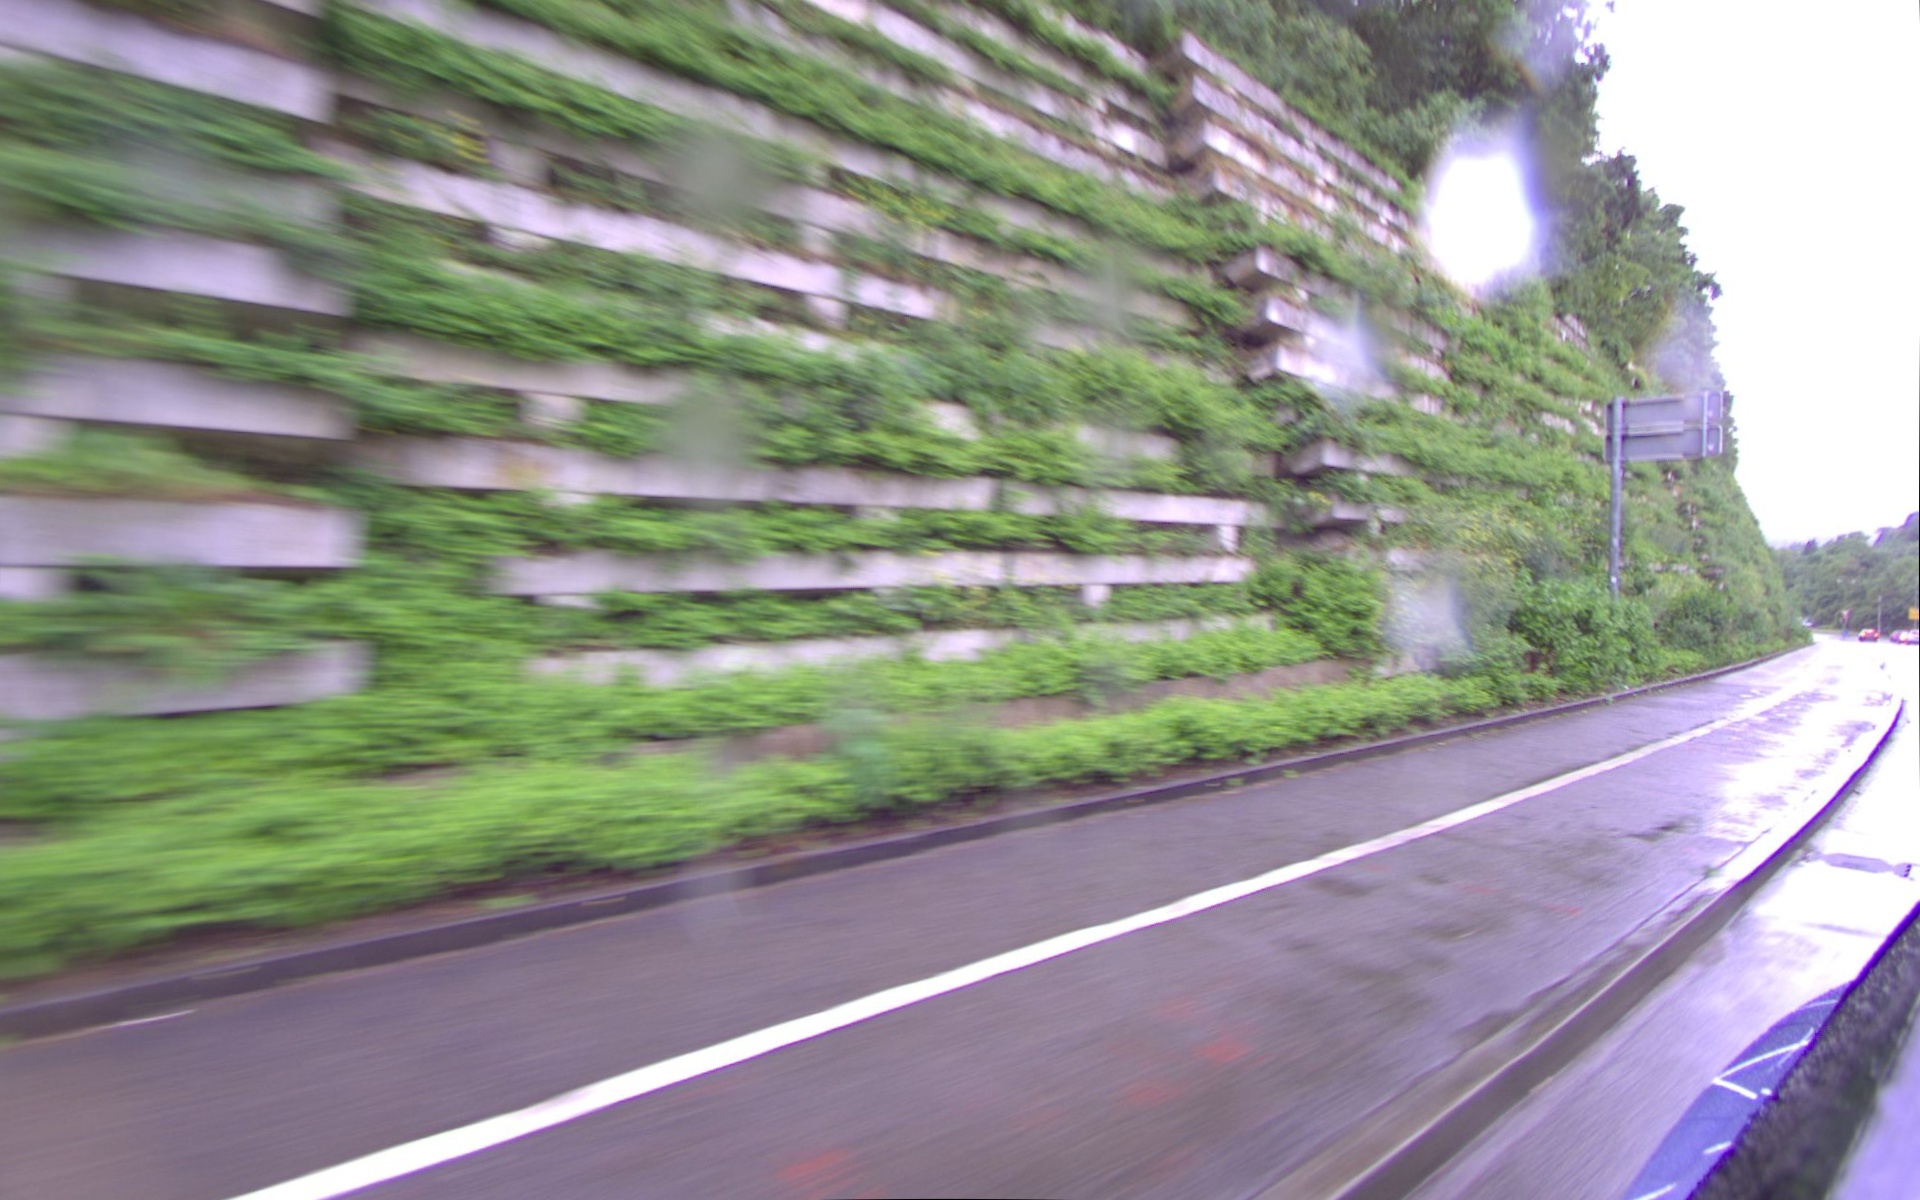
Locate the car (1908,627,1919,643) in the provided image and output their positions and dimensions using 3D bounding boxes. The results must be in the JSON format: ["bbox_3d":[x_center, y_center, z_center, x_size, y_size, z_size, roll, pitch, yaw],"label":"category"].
[{"bbox_3d":[129.706,4.725,136.778,3.930,2.039,1.997,0,0,-41],"label":"car"}]

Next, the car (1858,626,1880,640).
[{"bbox_3d":[123.475,4.464,137.502,3.931,1.866,1.797,0,0,-42],"label":"car"}]

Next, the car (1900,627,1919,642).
[{"bbox_3d":[113.712,4.107,120.636,1.989,1.545,3.946,1,0,37],"label":"car"}]

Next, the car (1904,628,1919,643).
[{"bbox_3d":[134.140,4.990,142.252,1.992,2.039,3.940,1,0,42],"label":"car"}]

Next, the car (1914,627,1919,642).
[{"bbox_3d":[102.940,3.697,107.406,1.989,1.545,3.946,1,0,37],"label":"car"}]

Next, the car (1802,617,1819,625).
[{"bbox_3d":[156.215,3.877,185.906,1.785,1.427,3.955,0,0,31],"label":"car"}]
